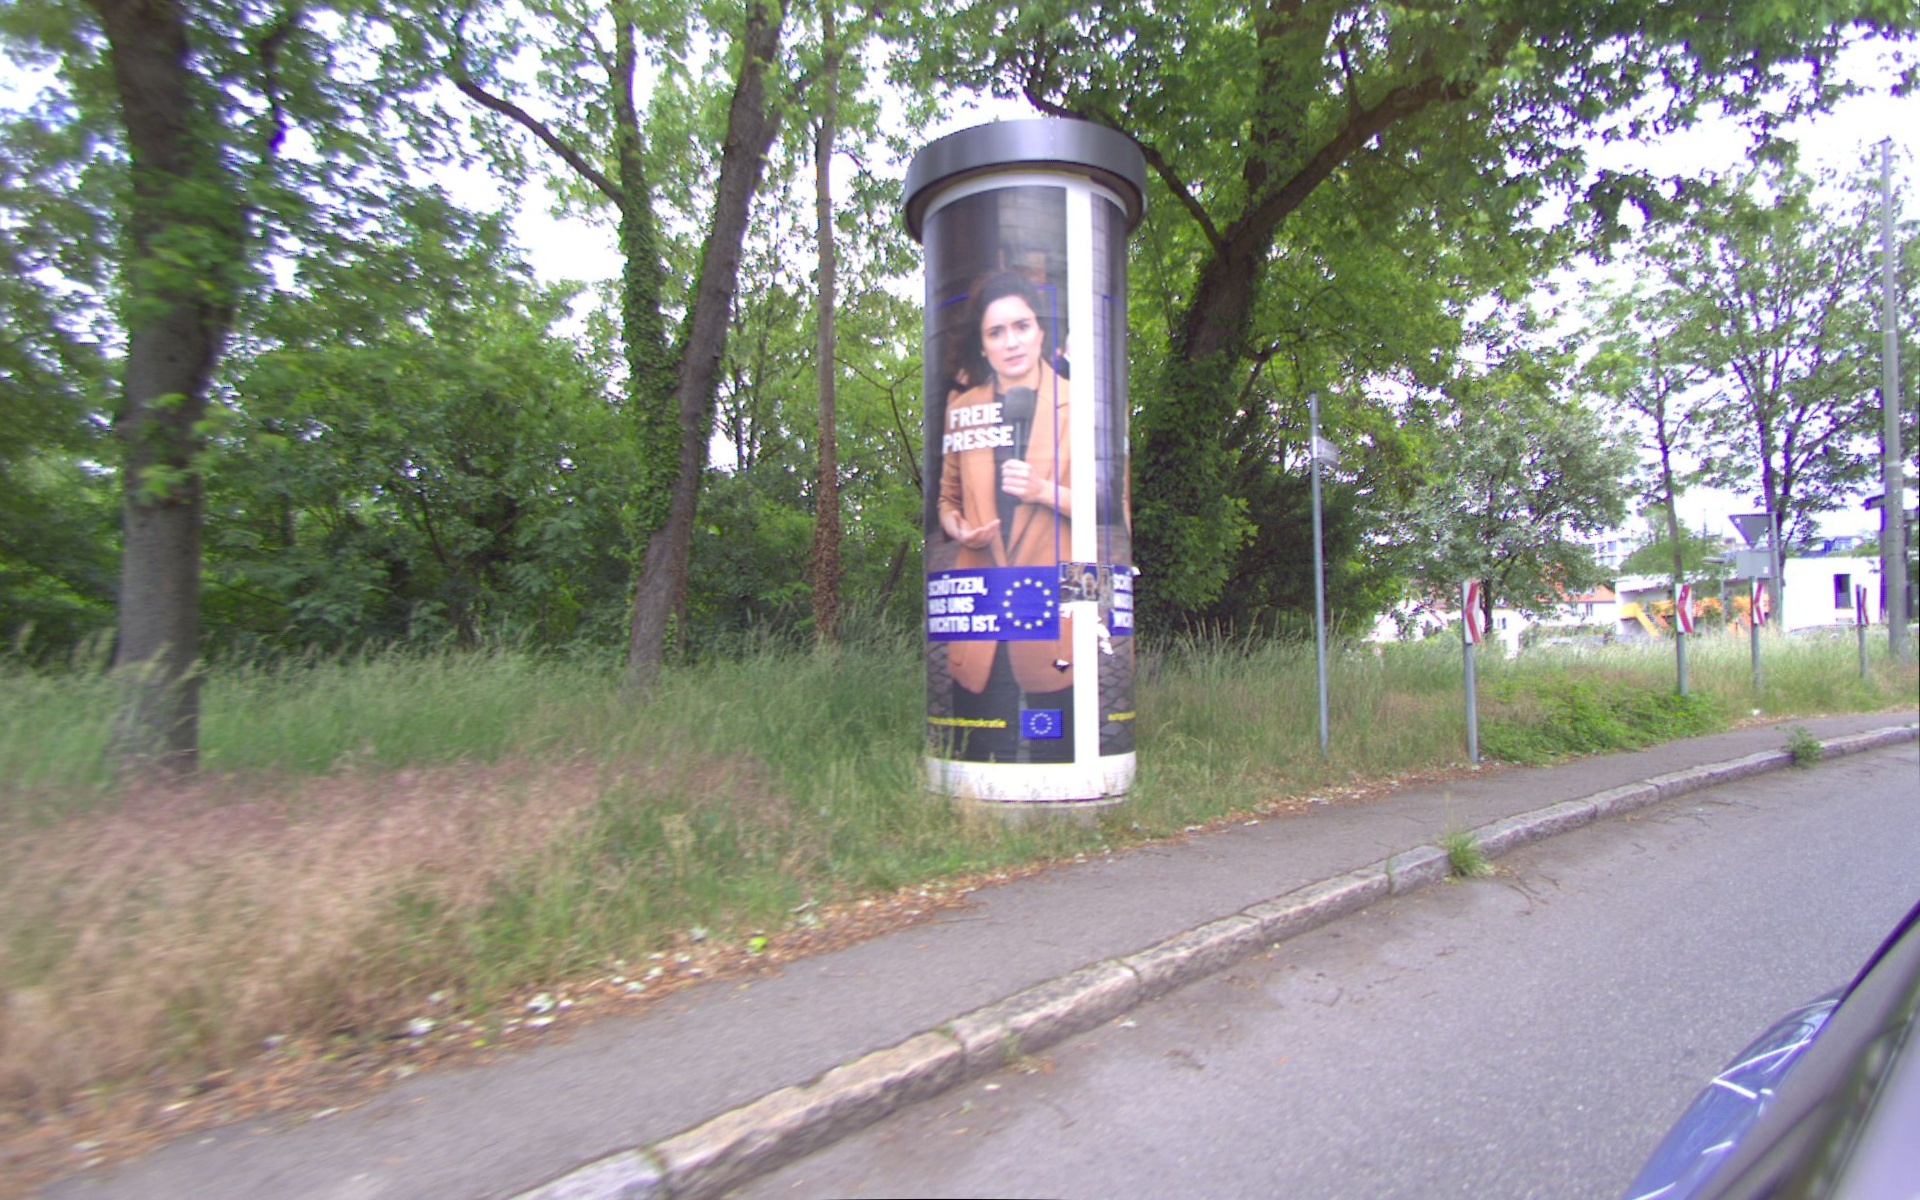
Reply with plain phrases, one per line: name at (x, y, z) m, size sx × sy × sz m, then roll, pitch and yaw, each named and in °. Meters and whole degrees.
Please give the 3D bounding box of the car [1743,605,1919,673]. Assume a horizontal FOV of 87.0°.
car at (22.401, 1.042, 25.789) m, size 1.796 × 1.417 × 3.668 m, roll -2°, pitch -7°, yaw -2°

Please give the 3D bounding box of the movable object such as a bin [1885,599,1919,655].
movable object such as a bin at (27.724, 0.725, 28.117) m, size 1.421 × 1.568 × 2.893 m, roll -2°, pitch -2°, yaw 4°

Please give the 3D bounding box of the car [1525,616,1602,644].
car at (84.310, 4.245, 141.518) m, size 8.149 × 3.426 × 3.990 m, roll -3°, pitch -3°, yaw 11°
